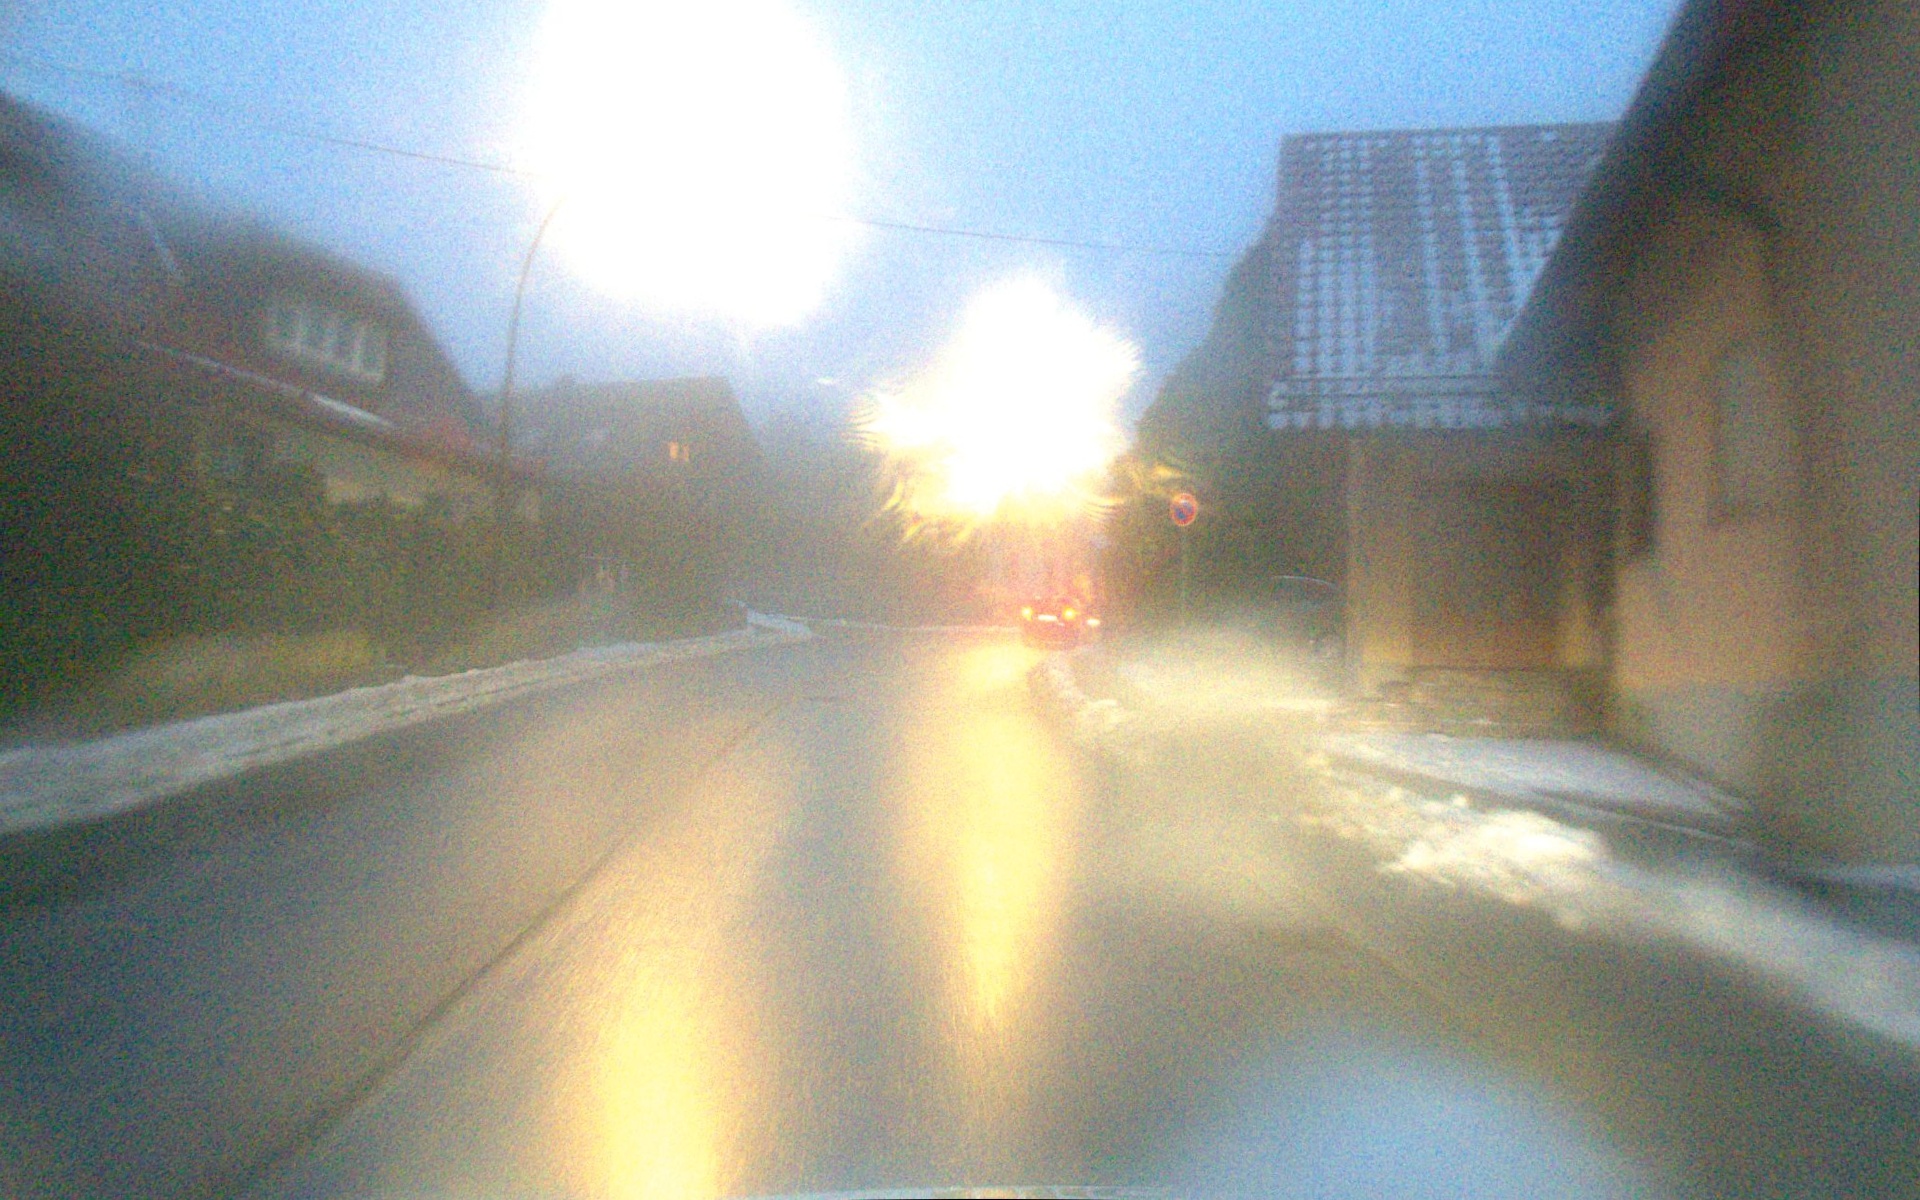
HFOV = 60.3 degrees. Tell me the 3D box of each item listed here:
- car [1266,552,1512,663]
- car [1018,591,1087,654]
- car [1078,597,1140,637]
[{"bbox_3d":[7.365,0.154,28.754,3.902,1.720,1.846,-2,-2,8],"label":"car"},{"bbox_3d":[2.853,0.718,50.338,1.951,1.767,3.880,-1,-3,5],"label":"car"},{"bbox_3d":[6.983,0.833,77.288,1.952,1.680,4.000,-2,-3,20],"label":"car"}]
